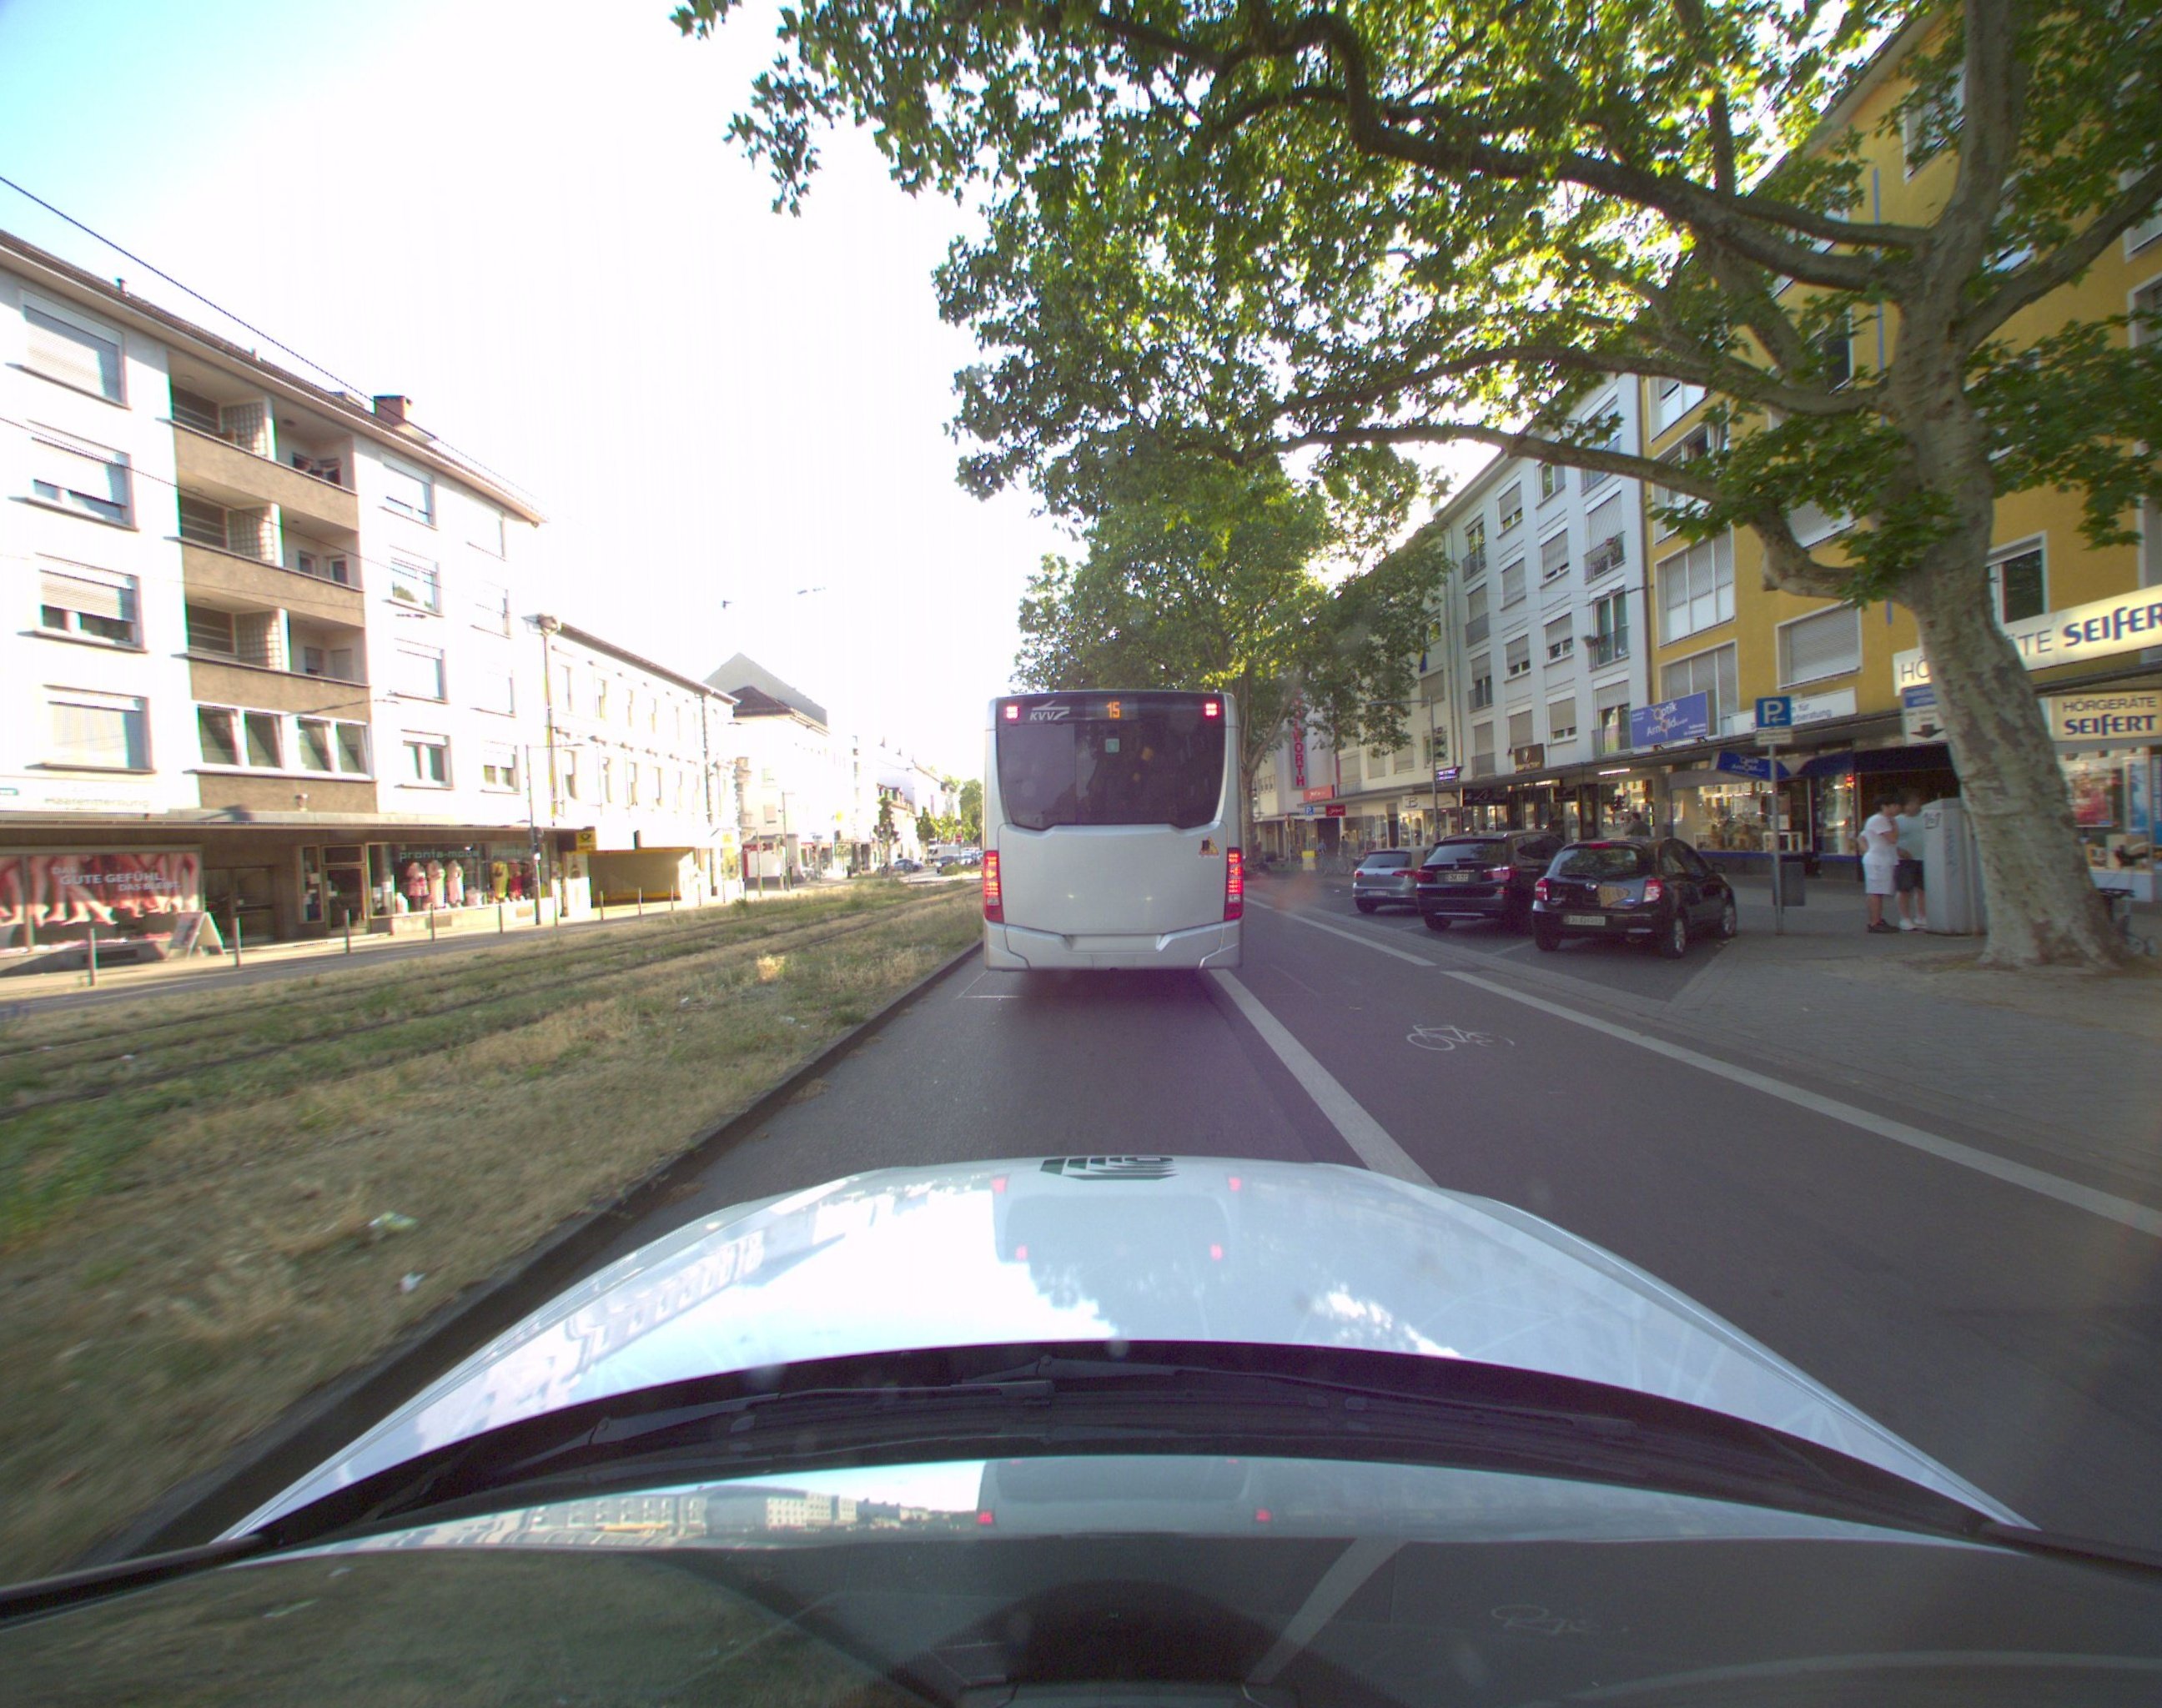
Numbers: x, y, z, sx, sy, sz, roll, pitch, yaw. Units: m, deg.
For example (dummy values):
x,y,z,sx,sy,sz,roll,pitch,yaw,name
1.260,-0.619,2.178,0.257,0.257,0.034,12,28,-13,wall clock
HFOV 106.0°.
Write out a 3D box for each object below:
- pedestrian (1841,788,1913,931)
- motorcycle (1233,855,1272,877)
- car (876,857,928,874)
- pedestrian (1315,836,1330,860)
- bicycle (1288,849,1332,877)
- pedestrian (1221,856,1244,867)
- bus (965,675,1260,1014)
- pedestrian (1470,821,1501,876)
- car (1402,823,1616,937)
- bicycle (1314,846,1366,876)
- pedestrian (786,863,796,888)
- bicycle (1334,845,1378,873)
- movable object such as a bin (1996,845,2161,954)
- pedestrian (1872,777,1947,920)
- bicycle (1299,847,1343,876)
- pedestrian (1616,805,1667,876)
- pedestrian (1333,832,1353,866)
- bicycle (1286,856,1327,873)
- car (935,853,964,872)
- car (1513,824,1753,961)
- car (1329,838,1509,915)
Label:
x,y,z,sx,sy,sz,roll,pitch,yaw,name
10.478,0.067,10.724,0.519,1.832,0.470,-3,0,-29,pedestrian
7.622,0.531,36.224,1.565,0.892,0.544,-3,0,-1,motorcycle
-17.928,1.141,81.582,4.571,1.412,1.979,-3,0,-35,car
17.349,-0.414,58.496,0.746,1.679,0.834,-3,2,-4,pedestrian
11.067,0.421,39.387,1.864,1.189,0.713,-5,0,10,bicycle
8.771,0.428,47.145,1.250,0.589,0.482,-2,0,0,pedestrian
0.482,-0.121,11.121,2.667,3.083,7.120,-1,1,3,bus
14.186,-0.204,28.574,0.640,1.876,0.825,-3,0,5,pedestrian
7.645,0.365,14.389,4.172,1.681,1.789,-3,0,-39,car
11.719,0.326,36.888,2.069,1.233,0.833,-3,0,6,bicycle
-20.251,1.480,56.930,0.423,1.713,0.509,-3,0,6,pedestrian
12.551,0.217,37.257,1.753,1.154,0.680,-4,0,10,bicycle
10.164,0.428,8.287,0.929,1.023,0.834,-1,0,-19,movable object such as a bin
10.957,-0.079,10.774,0.517,1.832,0.472,-3,0,-20,pedestrian
11.293,0.362,38.371,1.783,1.189,0.671,-5,0,-7,bicycle
14.811,-0.359,21.540,0.703,1.791,0.789,-6,0,8,pedestrian
14.355,-0.282,44.609,0.777,1.794,0.764,-3,0,2,pedestrian
11.135,0.515,40.268,1.864,0.765,0.714,-3,2,10,bicycle
-11.621,0.752,72.133,1.715,1.509,3.479,-5,0,3,car
7.745,0.432,11.328,3.626,1.540,1.722,-3,0,-39,car
7.708,0.459,18.450,4.196,1.451,1.790,-3,0,-36,car
